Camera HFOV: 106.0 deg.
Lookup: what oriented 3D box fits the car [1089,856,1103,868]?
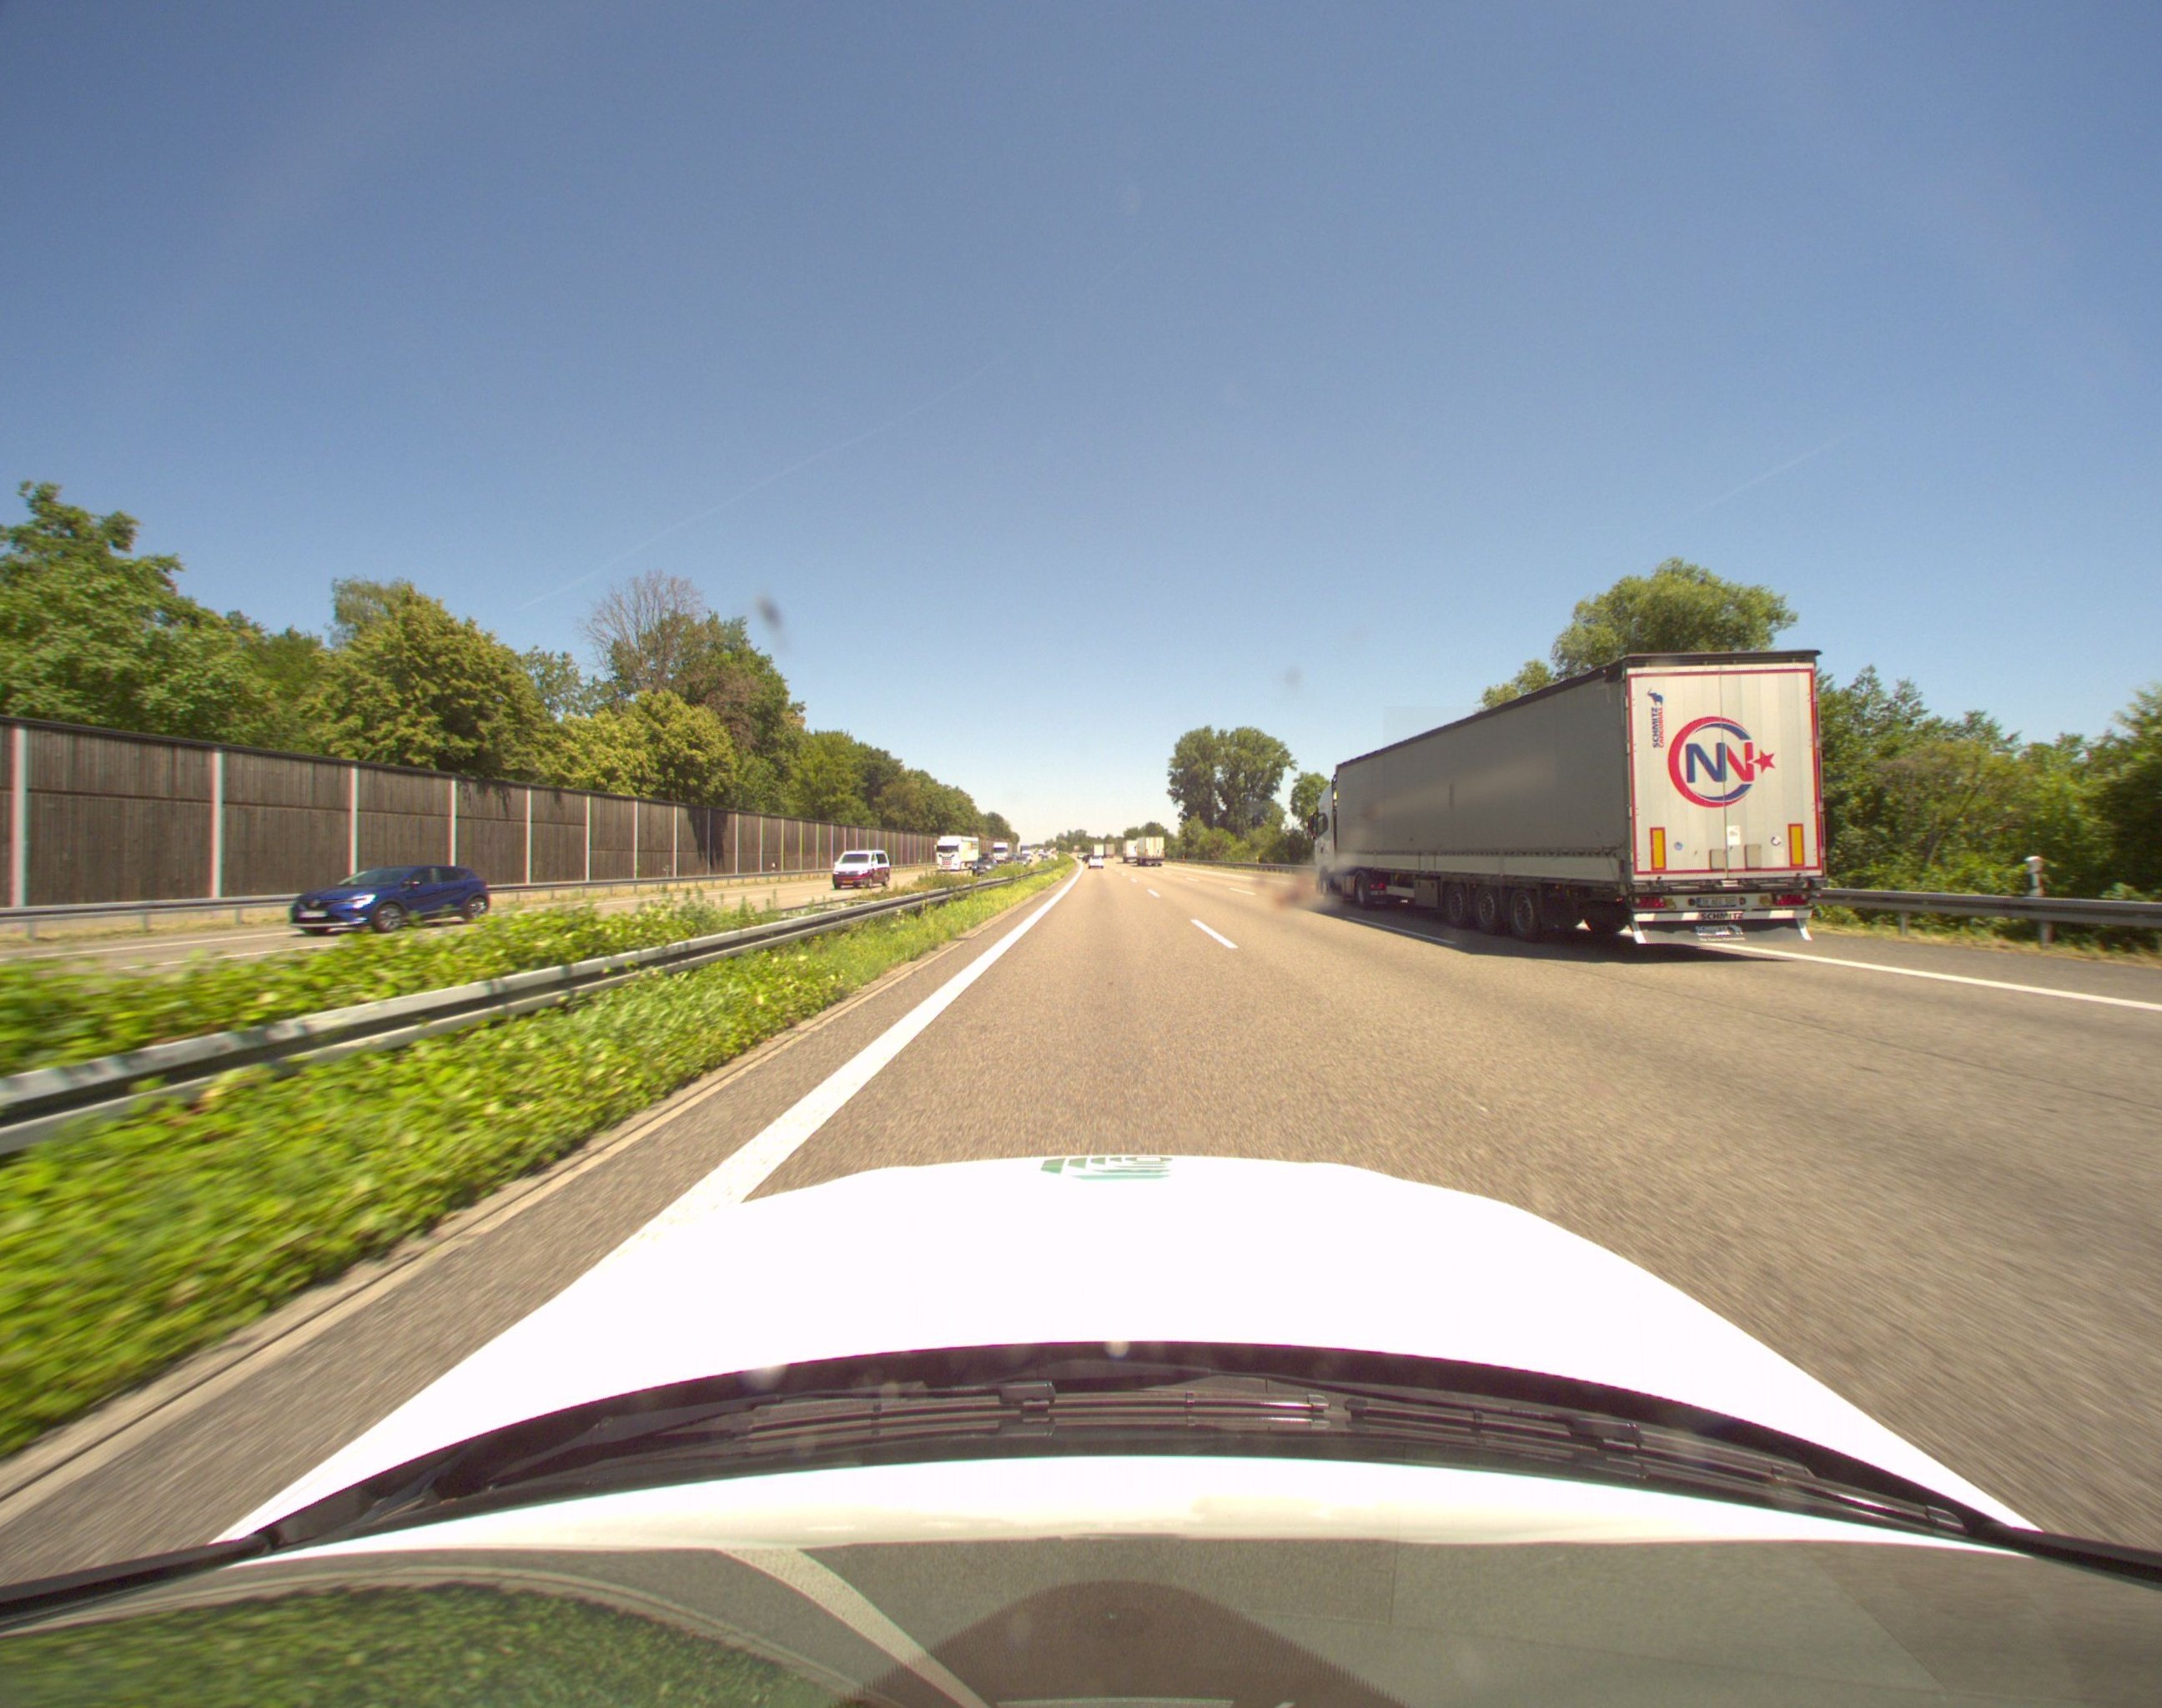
[{"bbox_3d":[1.842,0.989,98.749,1.709,1.369,3.376,-1,0,2],"label":"car"}]

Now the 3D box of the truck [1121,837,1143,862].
[{"bbox_3d":[9.027,-0.676,145.423,3.347,4.311,10.831,-1,0,1],"label":"truck"}]

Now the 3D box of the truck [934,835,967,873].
[{"bbox_3d":[-14.846,0.026,93.185,2.721,4.193,6.036,-1,-1,1],"label":"truck"}]

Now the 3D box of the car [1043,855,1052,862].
[{"bbox_3d":[-7.386,1.037,177.416,1.754,1.428,3.935,-1,0,0],"label":"car"}]

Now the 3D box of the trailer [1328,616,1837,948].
[{"bbox_3d":[8.602,-0.890,17.553,2.614,4.261,14.065,-1,0,2],"label":"trailer"}]

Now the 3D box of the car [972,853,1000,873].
[{"bbox_3d":[-7.731,0.724,66.567,1.707,1.543,4.361,-1,0,0],"label":"car"}]

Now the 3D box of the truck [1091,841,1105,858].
[{"bbox_3d":[4.667,-1.184,223.722,3.568,4.311,12.187,-1,0,0],"label":"truck"}]

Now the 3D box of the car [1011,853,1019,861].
[{"bbox_3d":[-15.955,0.769,196.979,1.795,2.013,3.999,-1,0,0],"label":"car"}]

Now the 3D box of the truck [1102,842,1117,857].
[{"bbox_3d":[8.463,-1.400,245.201,3.820,4.311,11.543,-1,0,-2],"label":"truck"}]

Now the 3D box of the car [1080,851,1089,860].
[{"bbox_3d":[0.833,0.368,179.216,1.987,2.013,4.000,-1,0,0],"label":"car"}]

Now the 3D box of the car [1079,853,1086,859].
[{"bbox_3d":[0.362,0.512,224.456,1.718,1.783,4.000,-1,0,1],"label":"car"}]

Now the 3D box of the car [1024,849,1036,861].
[{"bbox_3d":[-10.880,0.274,173.168,2.074,2.401,6.041,-1,0,0],"label":"car"}]

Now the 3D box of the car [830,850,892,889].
[{"bbox_3d":[-11.579,0.785,43.139,1.919,1.945,4.610,-1,0,1],"label":"car"}]

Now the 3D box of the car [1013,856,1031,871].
[{"bbox_3d":[-7.126,1.118,98.493,1.760,1.651,4.039,-1,0,1],"label":"car"}]

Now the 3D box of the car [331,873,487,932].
[{"bbox_3d":[-16.254,1.133,19.877,1.275,1.255,3.028,-1,0,0],"label":"car"}]

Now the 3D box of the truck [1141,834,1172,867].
[{"bbox_3d":[10.218,-0.420,111.905,3.480,4.311,10.991,-1,0,1],"label":"truck"}]

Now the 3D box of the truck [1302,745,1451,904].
[{"bbox_3d":[8.784,-0.791,24.899,2.597,4.287,5.436,-1,-1,1],"label":"truck"}]

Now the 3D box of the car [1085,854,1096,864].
[{"bbox_3d":[1.743,0.927,151.118,1.986,1.772,4.001,-1,0,1],"label":"car"}]

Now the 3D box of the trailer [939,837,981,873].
[{"bbox_3d":[-14.748,0.130,100.485,2.745,4.074,14.390,-1,0,1],"label":"trailer"}]

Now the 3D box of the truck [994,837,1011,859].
[{"bbox_3d":[-15.111,-1.187,156.748,2.493,4.055,6.363,-1,0,1],"label":"truck"}]
